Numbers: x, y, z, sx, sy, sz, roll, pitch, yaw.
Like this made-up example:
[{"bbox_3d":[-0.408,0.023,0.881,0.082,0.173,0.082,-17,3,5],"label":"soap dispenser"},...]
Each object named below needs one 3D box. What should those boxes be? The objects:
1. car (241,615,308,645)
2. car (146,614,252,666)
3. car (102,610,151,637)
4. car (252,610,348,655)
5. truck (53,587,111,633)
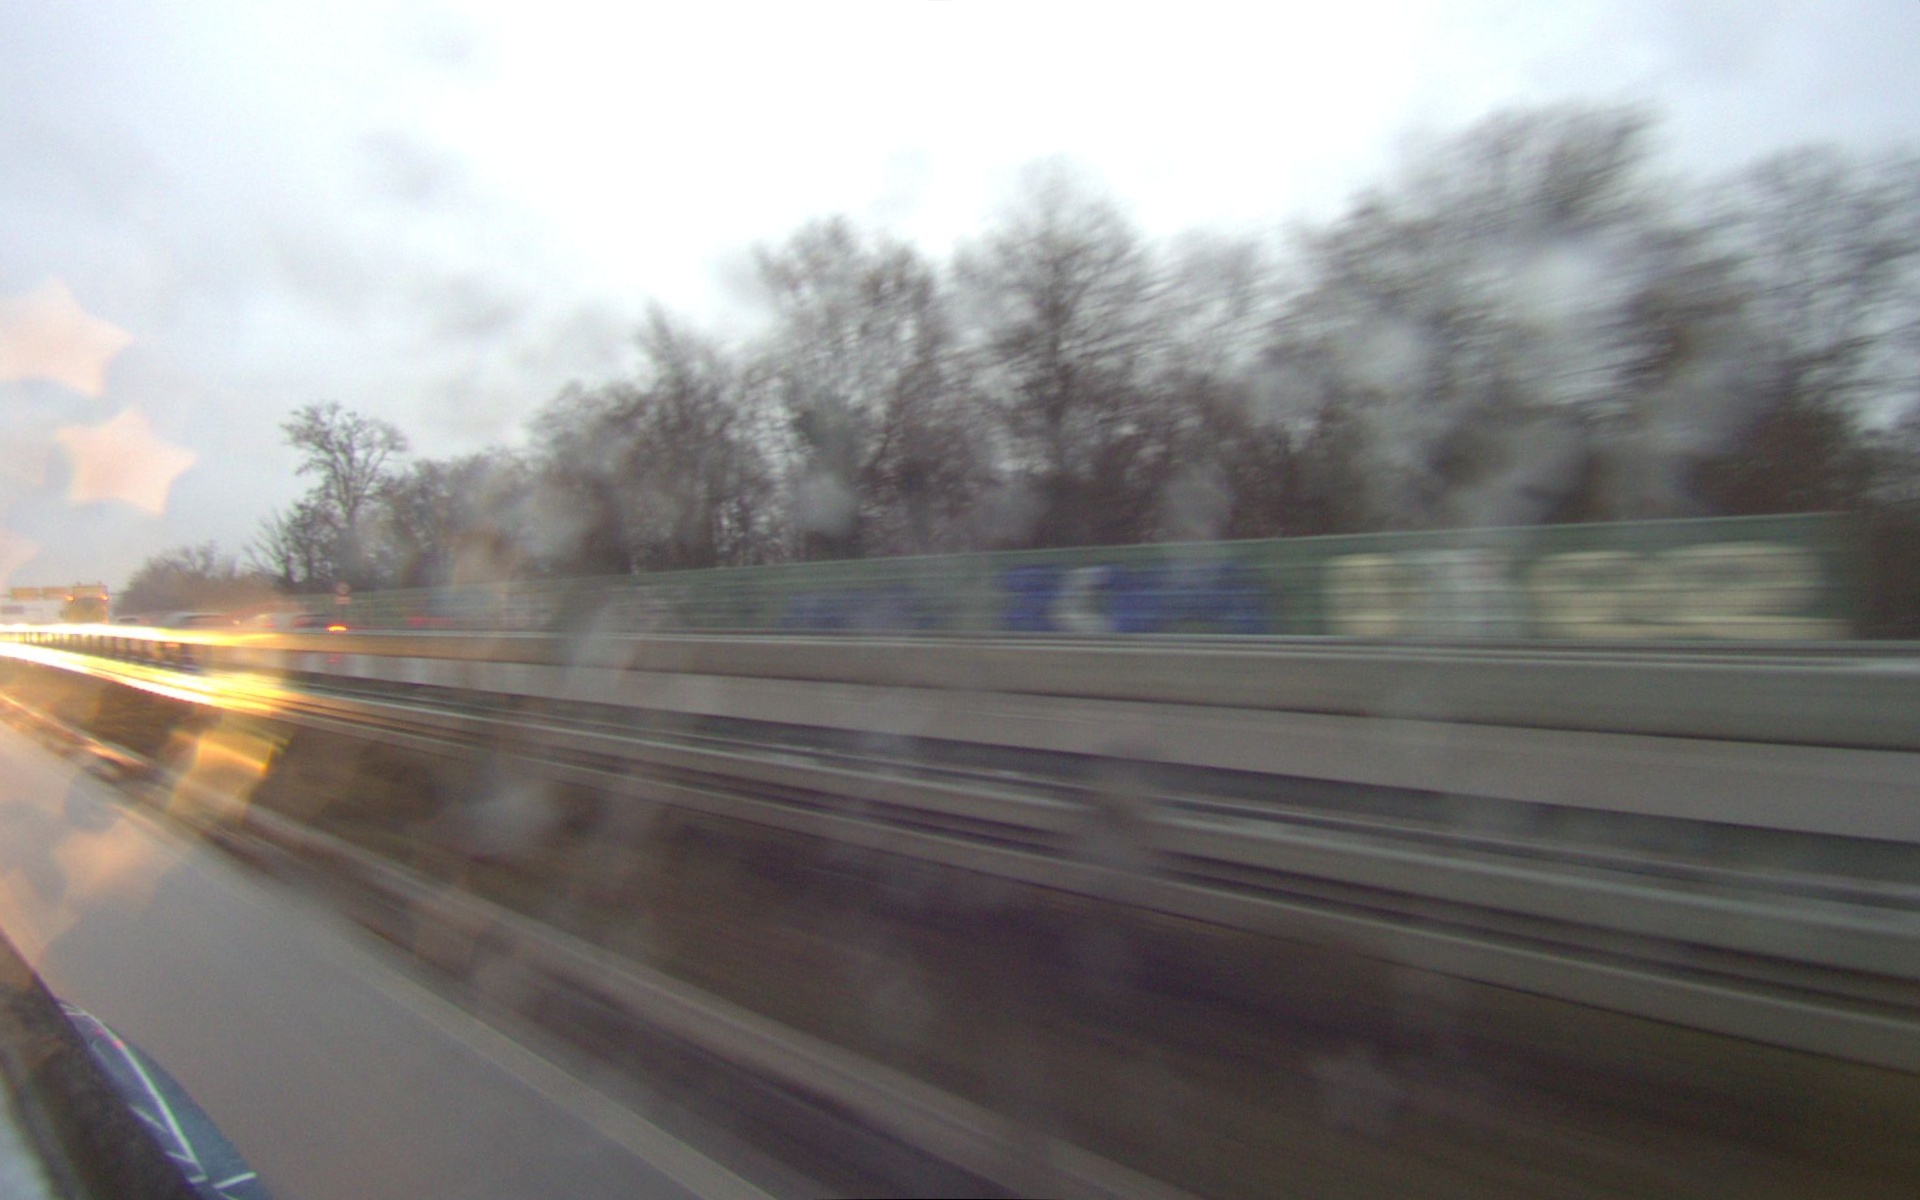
[{"bbox_3d":[-36.943,1.592,54.509,4.796,1.525,1.972,-1,0,43],"label":"car"},{"bbox_3d":[-24.101,1.219,31.992,4.671,1.493,1.845,-1,0,42],"label":"car"},{"bbox_3d":[-54.598,1.526,66.292,4.000,1.661,1.972,-1,0,43],"label":"car"},{"bbox_3d":[-24.337,1.148,37.255,4.283,1.525,1.972,-1,0,43],"label":"car"},{"bbox_3d":[-77.859,0.871,89.705,9.371,3.886,3.043,-1,0,44],"label":"truck"}]
